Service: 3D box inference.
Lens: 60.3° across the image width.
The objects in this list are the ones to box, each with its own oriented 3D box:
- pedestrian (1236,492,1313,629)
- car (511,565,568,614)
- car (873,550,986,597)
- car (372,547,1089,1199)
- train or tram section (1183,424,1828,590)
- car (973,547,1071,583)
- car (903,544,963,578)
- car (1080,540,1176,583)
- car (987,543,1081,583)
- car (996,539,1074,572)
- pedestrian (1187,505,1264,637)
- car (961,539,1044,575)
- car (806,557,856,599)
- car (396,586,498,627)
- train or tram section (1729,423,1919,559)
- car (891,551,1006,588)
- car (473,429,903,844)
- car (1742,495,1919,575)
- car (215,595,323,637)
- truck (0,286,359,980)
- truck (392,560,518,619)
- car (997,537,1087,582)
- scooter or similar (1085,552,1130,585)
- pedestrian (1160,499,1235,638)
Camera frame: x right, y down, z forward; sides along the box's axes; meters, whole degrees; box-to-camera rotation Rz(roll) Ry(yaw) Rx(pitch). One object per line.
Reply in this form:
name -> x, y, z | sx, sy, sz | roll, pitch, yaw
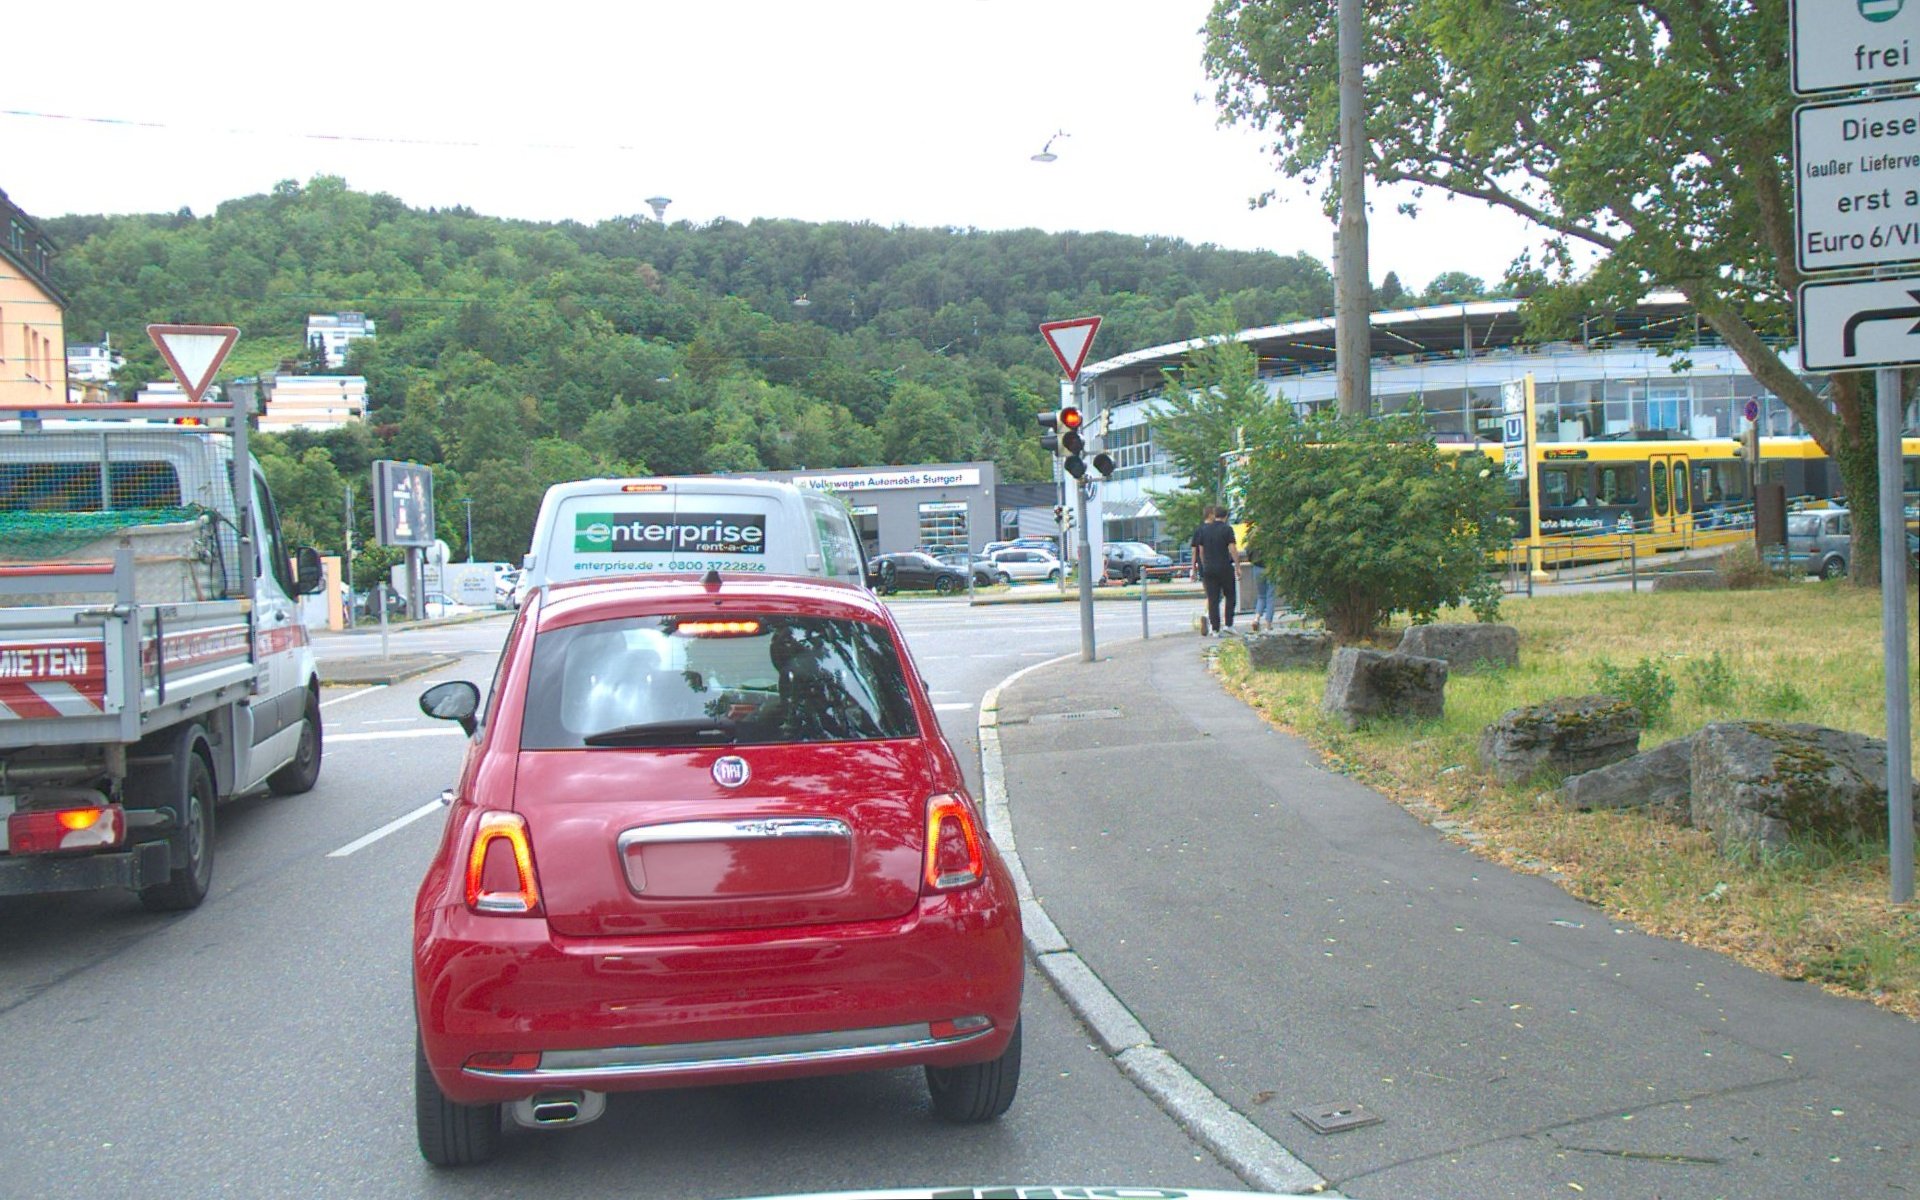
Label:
pedestrian -> 4.195, -0.526, 22.035 | 0.681, 1.770, 0.785 | -2, 1, 36
car -> -17.288, -0.462, 68.145 | 1.826, 1.849, 4.393 | -3, 2, -9
car -> -1.137, -0.988, 61.374 | 3.787, 1.526, 1.777 | -2, 1, 16
car -> -0.828, 0.614, 5.508 | 1.610, 1.482, 3.421 | -2, 1, -11
train or tram section -> 14.935, -2.587, 43.916 | 18.858, 3.729, 3.254 | -3, 2, -24
car -> 3.062, -1.739, 81.133 | 4.696, 1.560, 1.776 | -2, 1, 2
car -> -1.575, -2.359, 99.562 | 1.954, 1.847, 3.997 | -2, 2, 26
car -> 6.599, -1.506, 65.225 | 1.754, 1.526, 3.837 | -3, 2, -33
car -> 3.761, -1.895, 84.689 | 4.696, 1.834, 1.776 | -2, 1, 2
car -> 4.589, -2.726, 101.199 | 4.696, 1.834, 1.776 | -2, 1, 2
pedestrian -> 3.591, -0.395, 22.350 | 0.682, 1.744, 0.785 | -2, 1, 37
car -> 2.478, -2.505, 96.274 | 4.696, 1.834, 1.776 | -2, 1, 2
car -> -6.127, -1.074, 78.752 | 1.952, 1.847, 4.001 | -2, 2, 1
car -> -22.480, 0.281, 72.639 | 4.135, 1.560, 1.768 | -3, 2, -16
train or tram section -> 32.170, -3.547, 51.466 | 18.858, 3.729, 3.254 | -3, 2, -24
car -> -0.476, -1.299, 70.522 | 4.572, 1.351, 1.777 | -2, 1, 13
car -> -1.550, 0.135, 11.300 | 1.948, 2.143, 4.763 | -3, 1, 1
car -> 19.478, -1.436, 36.637 | 3.823, 1.611, 1.791 | -3, 2, -22
car -> -29.337, 0.658, 70.338 | 4.146, 1.560, 1.763 | -3, 2, -23
truck -> -4.798, 0.121, 8.564 | 2.381, 2.439, 6.008 | -3, 1, -14
truck -> -23.124, -0.502, 75.787 | 5.127, 2.434, 1.981 | -3, 2, -29
car -> 4.431, -2.190, 89.618 | 4.696, 2.194, 2.234 | -2, 1, 2
scooter or similar -> 5.549, -1.190, 62.394 | 1.633, 1.198, 0.468 | -2, 1, 6
pedestrian -> 3.316, -0.440, 23.084 | 0.682, 1.889, 0.785 | -2, 1, 37
